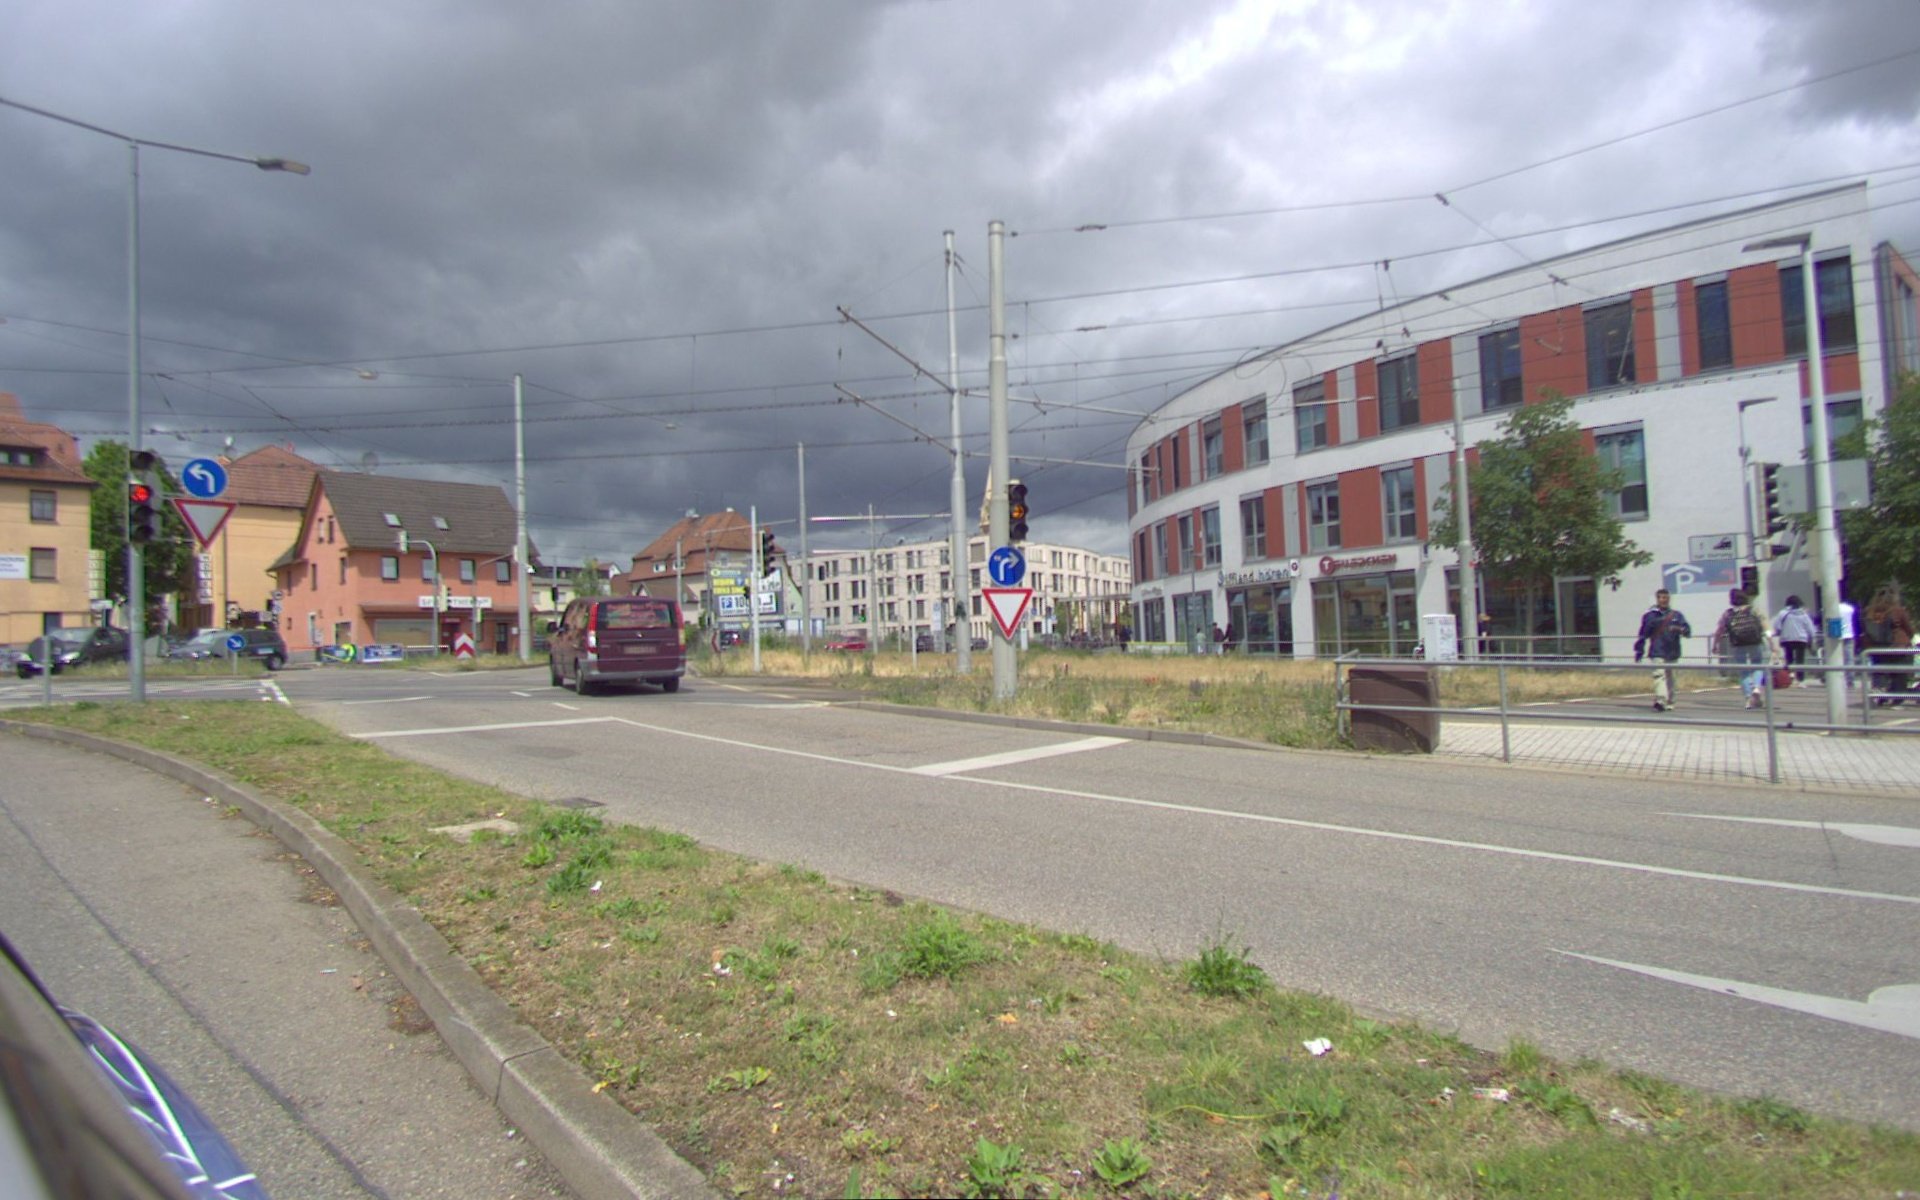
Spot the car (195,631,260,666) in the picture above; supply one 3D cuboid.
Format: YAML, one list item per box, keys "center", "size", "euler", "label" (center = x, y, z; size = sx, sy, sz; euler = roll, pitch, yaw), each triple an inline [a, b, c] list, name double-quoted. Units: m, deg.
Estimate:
- center: [-43.471, 2.880, 60.026]
  size: [4.658, 1.912, 2.054]
  euler: [-3, -2, 39]
  label: "car"

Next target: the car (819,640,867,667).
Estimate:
- center: [-9.439, 4.320, 81.772]
  size: [1.990, 2.029, 3.963]
  euler: [-4, -3, 27]
  label: "car"

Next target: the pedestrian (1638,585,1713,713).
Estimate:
- center: [9.438, 0.631, 13.374]
  size: [0.667, 1.616, 0.828]
  euler: [0, -2, 26]
  label: "pedestrian"

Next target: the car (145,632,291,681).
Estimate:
- center: [-27.883, 2.110, 38.228]
  size: [1.976, 1.662, 4.410]
  euler: [-3, -3, 6]
  label: "car"

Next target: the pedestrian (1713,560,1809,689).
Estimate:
- center: [10.756, 0.335, 13.591]
  size: [0.920, 1.649, 0.852]
  euler: [-2, -3, 42]
  label: "pedestrian"

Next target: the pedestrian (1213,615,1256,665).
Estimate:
- center: [11.541, 1.685, 42.549]
  size: [1.235, 2.029, 1.143]
  euler: [1, -3, -28]
  label: "pedestrian"

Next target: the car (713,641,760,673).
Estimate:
- center: [-11.985, 3.041, 54.482]
  size: [1.785, 1.592, 4.299]
  euler: [0, -2, -3]
  label: "car"

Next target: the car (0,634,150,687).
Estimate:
- center: [-26.967, 1.844, 30.797]
  size: [1.854, 1.440, 4.007]
  euler: [-2, -3, -8]
  label: "car"

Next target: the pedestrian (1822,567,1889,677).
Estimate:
- center: [15.419, 0.387, 17.438]
  size: [0.772, 1.836, 0.897]
  euler: [-3, -4, 42]
  label: "pedestrian"

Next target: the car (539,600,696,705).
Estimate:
- center: [-7.066, 0.978, 20.491]
  size: [1.966, 1.836, 5.087]
  euler: [0, -1, -31]
  label: "car"

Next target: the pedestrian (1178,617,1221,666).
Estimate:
- center: [10.021, 1.738, 42.364]
  size: [1.235, 2.029, 1.143]
  euler: [1, -3, -28]
  label: "pedestrian"

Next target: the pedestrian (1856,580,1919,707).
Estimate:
- center: [12.285, 0.563, 13.229]
  size: [0.639, 1.608, 0.827]
  euler: [-1, -2, 29]
  label: "pedestrian"

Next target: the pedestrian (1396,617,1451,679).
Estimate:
- center: [15.438, 1.584, 33.715]
  size: [1.236, 2.029, 1.143]
  euler: [1, -3, -31]
  label: "pedestrian"

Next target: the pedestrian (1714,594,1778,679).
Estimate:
- center: [16.500, 0.766, 21.272]
  size: [0.828, 1.748, 0.666]
  euler: [-1, -2, 18]
  label: "pedestrian"

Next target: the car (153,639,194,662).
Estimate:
- center: [-52.103, 3.332, 67.025]
  size: [3.129, 1.381, 1.541]
  euler: [-5, -4, 39]
  label: "car"

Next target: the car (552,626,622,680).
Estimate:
- center: [-10.978, 1.498, 29.934]
  size: [1.772, 1.421, 5.068]
  euler: [1, -1, -19]
  label: "car"
